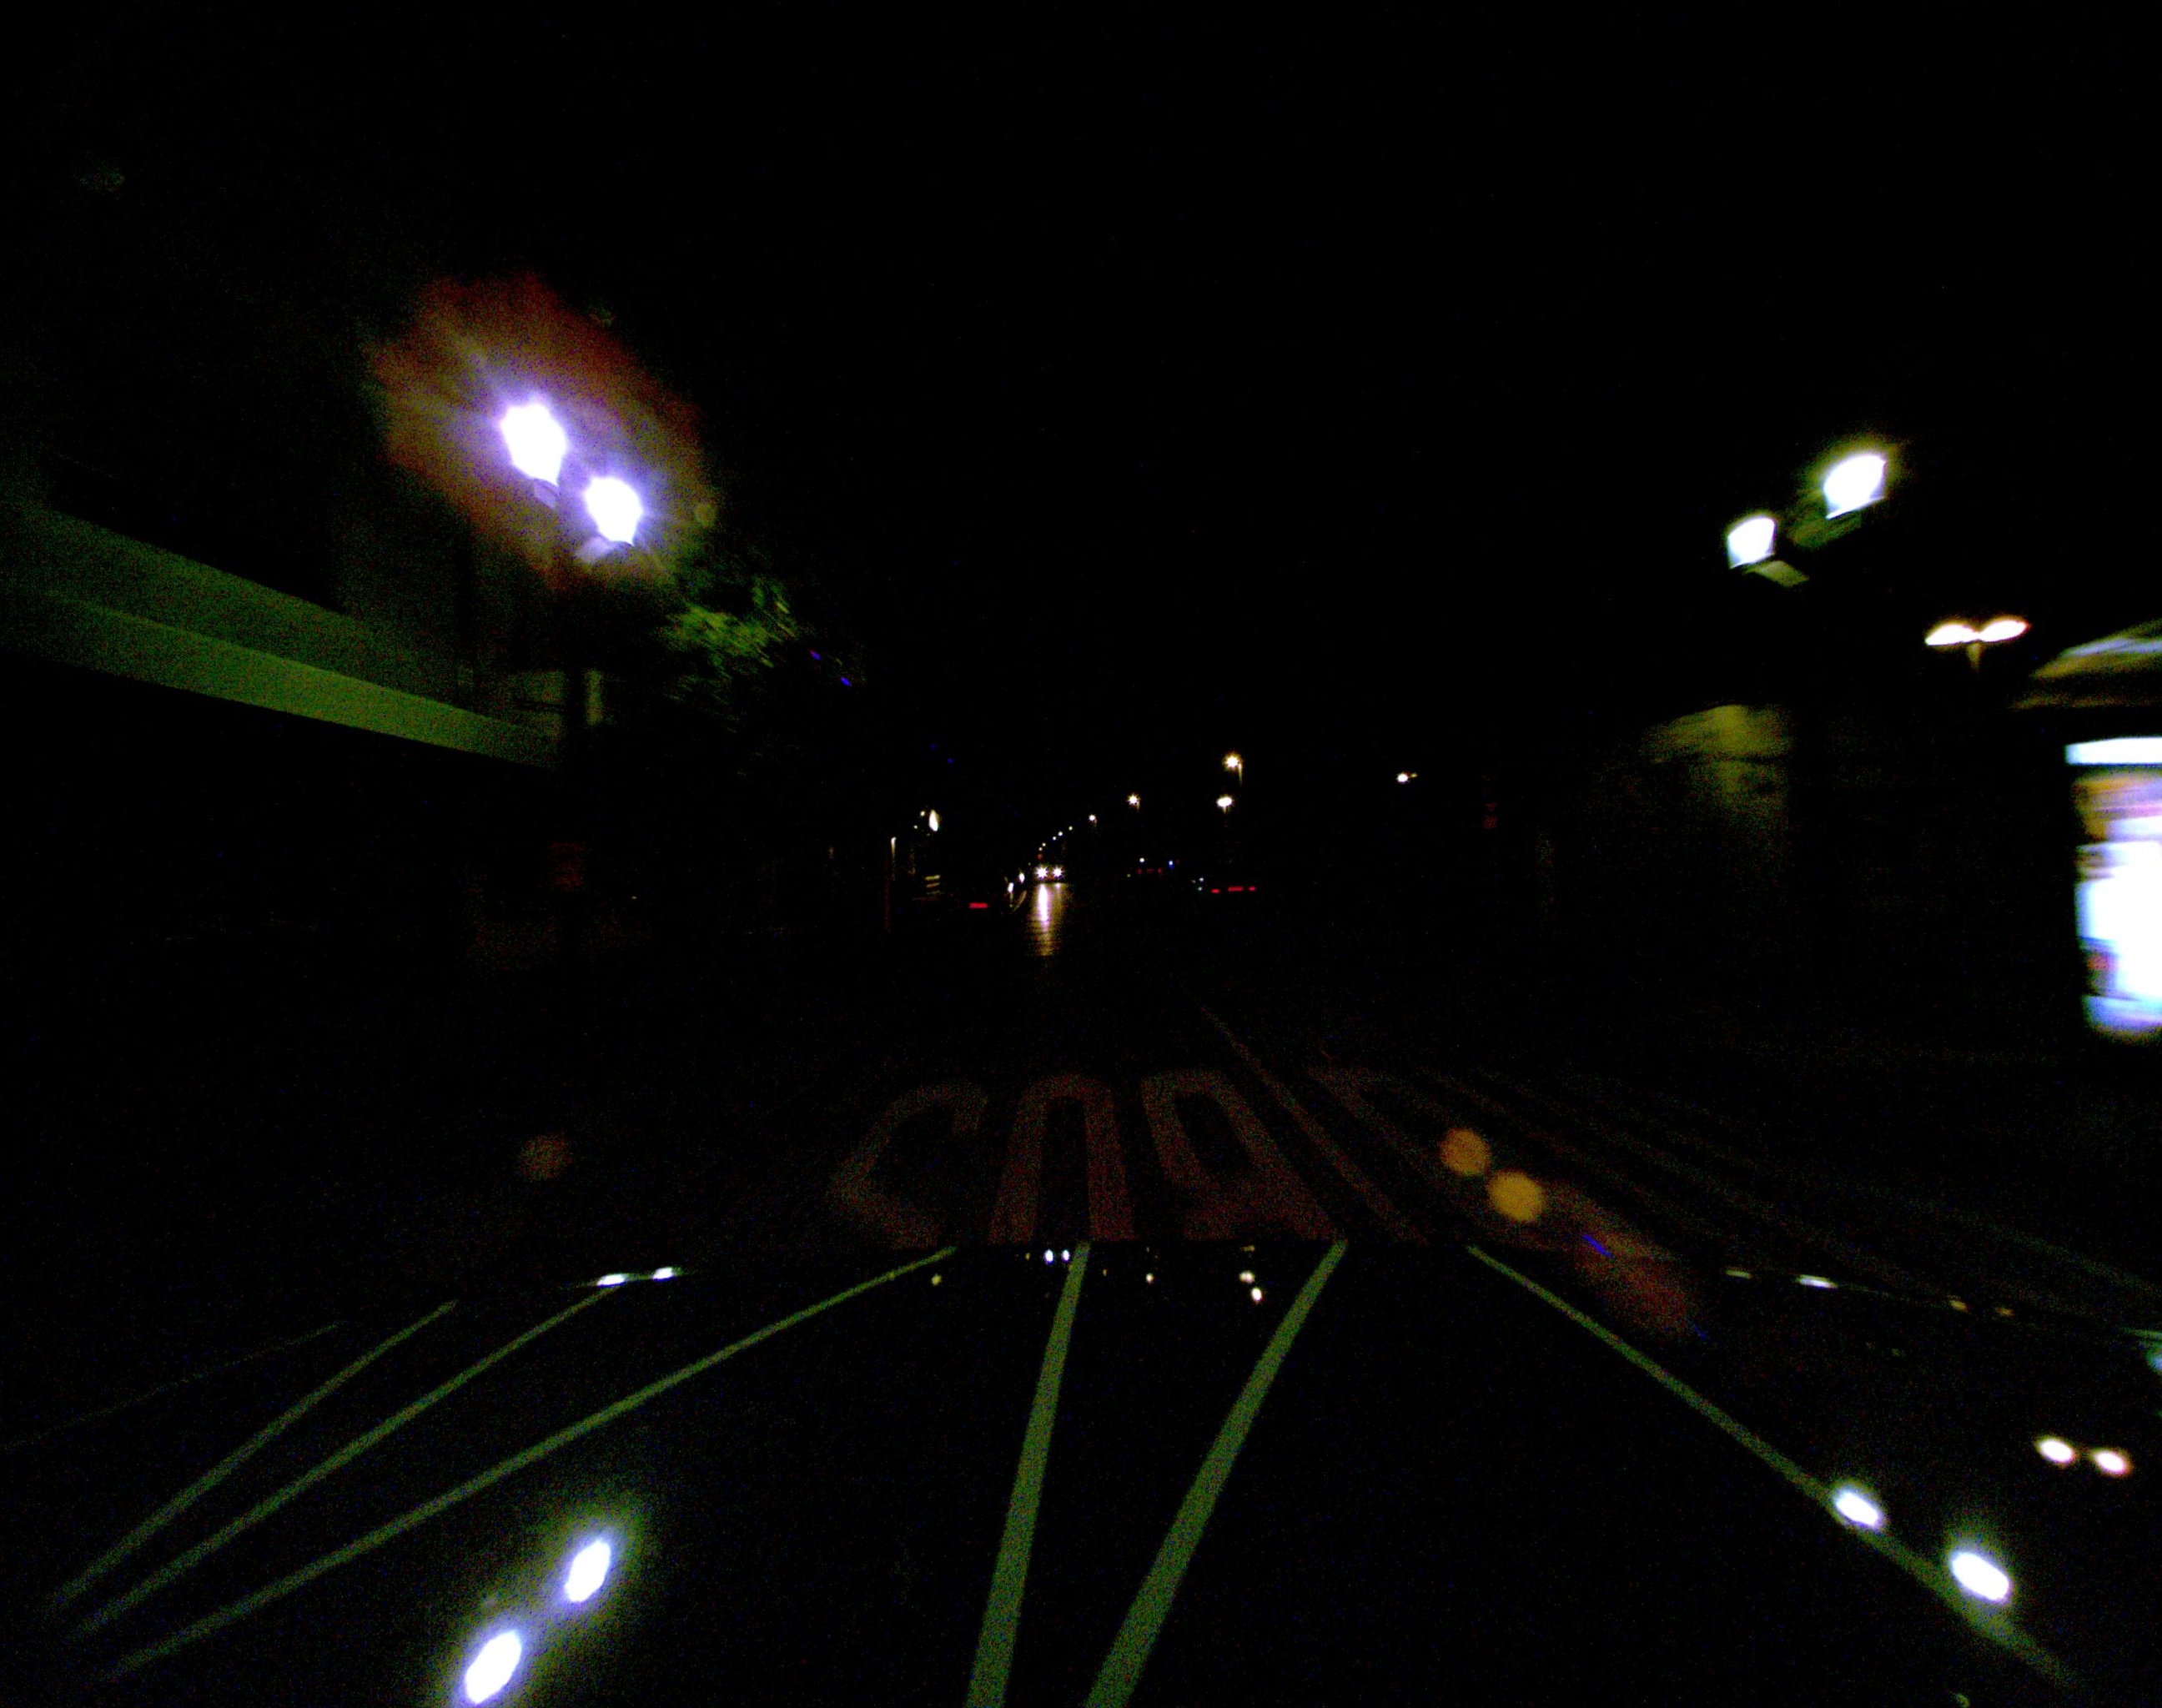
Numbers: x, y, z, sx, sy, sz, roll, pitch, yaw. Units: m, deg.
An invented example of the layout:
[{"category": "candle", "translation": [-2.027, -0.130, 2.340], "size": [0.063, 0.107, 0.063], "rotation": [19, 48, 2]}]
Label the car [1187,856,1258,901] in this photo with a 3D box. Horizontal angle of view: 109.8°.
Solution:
[{"category": "car", "translation": [5.135, 0.842, 28.017], "size": [1.696, 1.428, 4.127], "rotation": [-3, 0, -1]}]

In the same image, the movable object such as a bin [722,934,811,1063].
[{"category": "movable object such as a bin", "translation": [-2.628, 1.188, 6.395], "size": [0.525, 0.932, 0.629], "rotation": [-3, 2, -10]}]

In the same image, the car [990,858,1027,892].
[{"category": "car", "translation": [-3.751, 1.063, 39.844], "size": [1.792, 1.632, 4.378], "rotation": [0, 0, -3]}]

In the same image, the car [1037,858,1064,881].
[{"category": "car", "translation": [-2.209, 1.078, 54.113], "size": [1.628, 1.496, 3.548], "rotation": [-3, 0, -6]}]

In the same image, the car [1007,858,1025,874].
[{"category": "car", "translation": [-6.531, 1.181, 76.593], "size": [1.643, 1.458, 3.774], "rotation": [-3, 0, -5]}]

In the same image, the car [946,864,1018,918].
[{"category": "car", "translation": [-2.966, 1.076, 23.708], "size": [1.862, 1.433, 4.592], "rotation": [0, 0, -3]}]

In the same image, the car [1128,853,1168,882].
[{"category": "car", "translation": [3.929, 0.763, 45.358], "size": [1.697, 1.515, 3.688], "rotation": [-2, 1, -5]}]

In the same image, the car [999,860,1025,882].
[{"category": "car", "translation": [-5.019, 1.211, 55.077], "size": [1.785, 1.429, 4.287], "rotation": [-3, 0, -6]}]
